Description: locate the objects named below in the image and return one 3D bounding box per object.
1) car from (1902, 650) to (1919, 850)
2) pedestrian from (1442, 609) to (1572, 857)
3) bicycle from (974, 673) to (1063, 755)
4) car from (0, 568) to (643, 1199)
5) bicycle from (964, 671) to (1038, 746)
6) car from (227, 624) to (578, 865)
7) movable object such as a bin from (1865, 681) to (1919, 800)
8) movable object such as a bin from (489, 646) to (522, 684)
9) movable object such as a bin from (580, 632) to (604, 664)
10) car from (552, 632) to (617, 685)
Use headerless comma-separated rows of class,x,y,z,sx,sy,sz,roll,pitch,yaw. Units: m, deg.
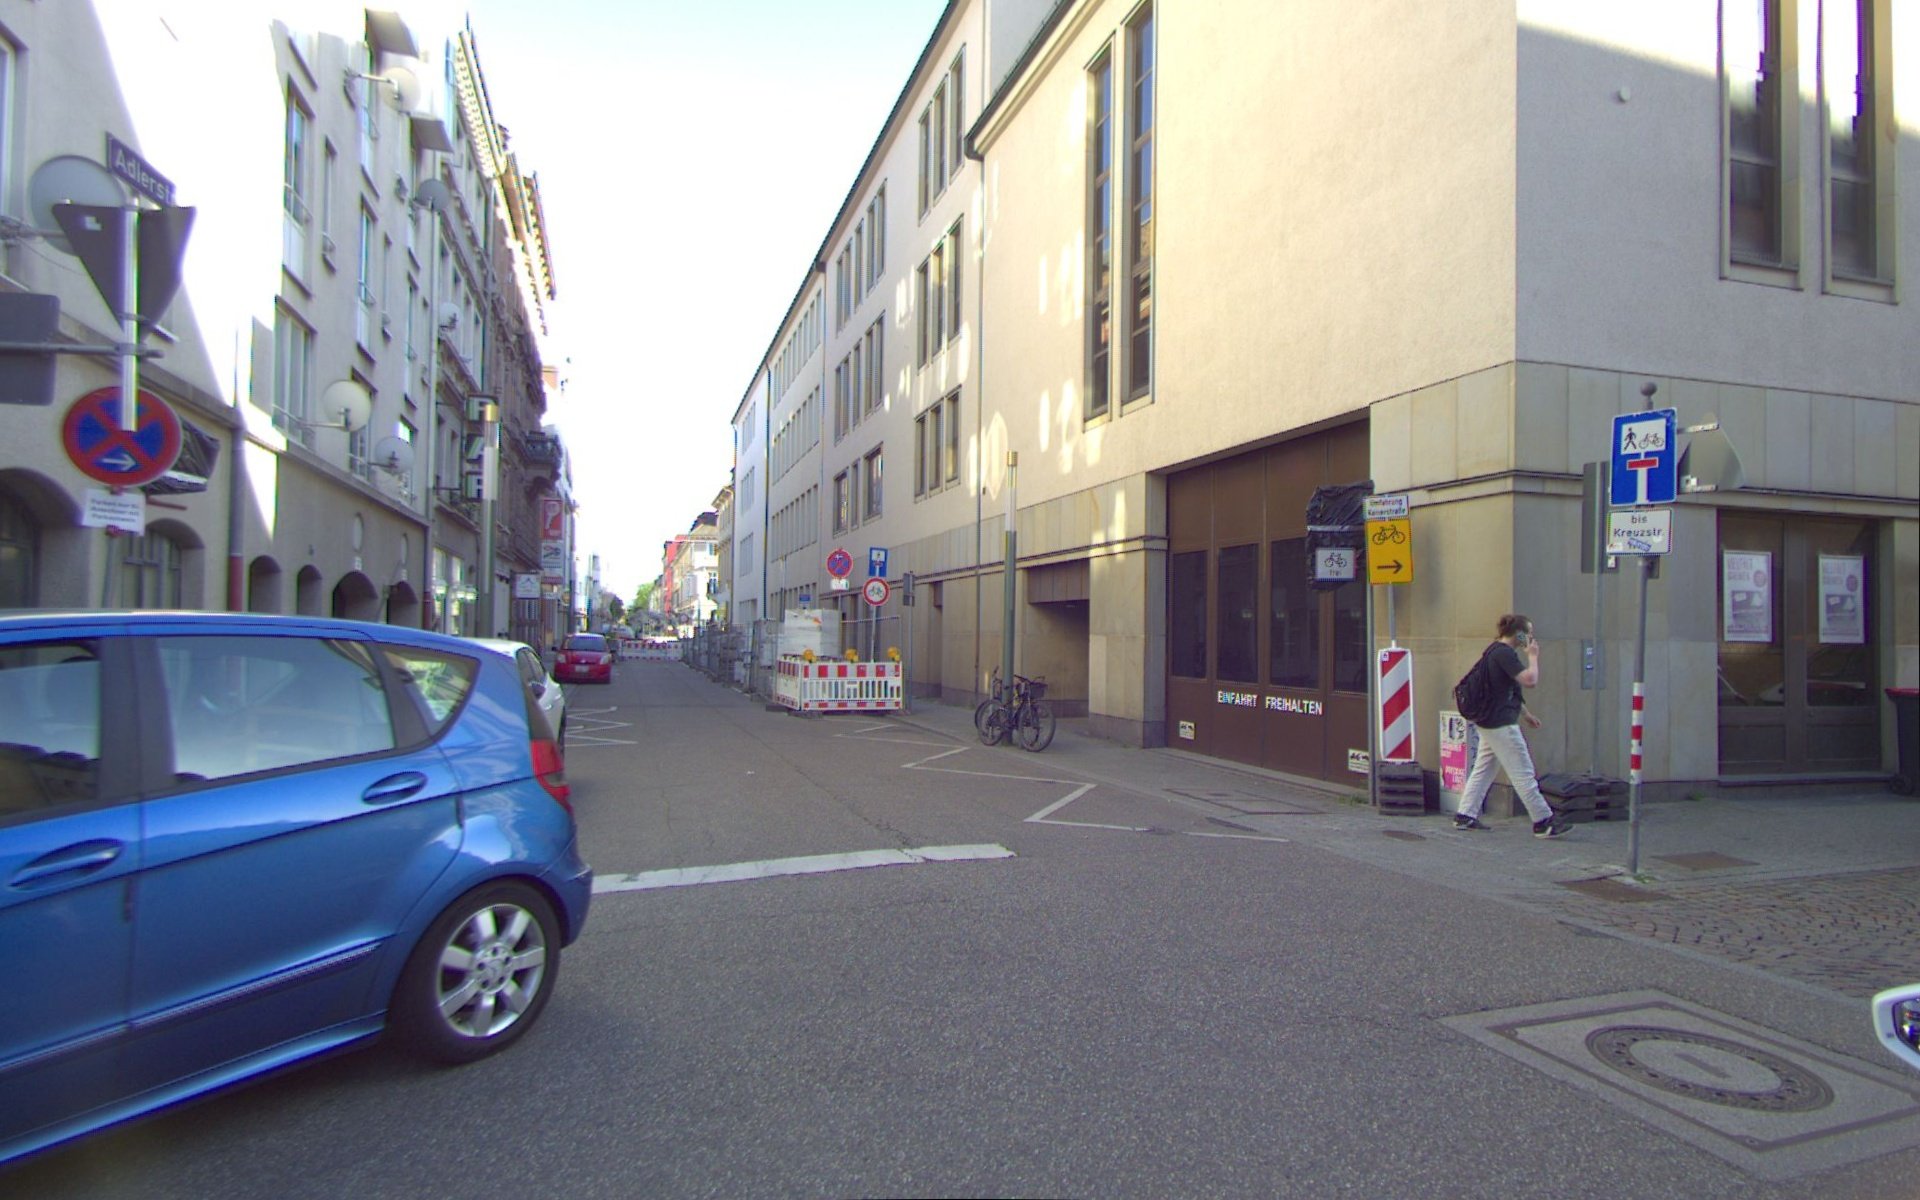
car,9.284,1.130,7.479,3.740,1.511,1.736,1,-3,-19
pedestrian,4.396,1.029,8.142,0.845,1.878,0.716,0,-3,23
bicycle,0.832,1.643,14.782,0.299,1.064,1.775,2,-2,-34
car,-2.961,0.766,2.893,1.822,1.614,3.803,-2,-2,25
bicycle,0.628,1.680,15.866,0.299,1.064,1.528,2,-2,-34
car,-4.557,1.071,8.891,1.714,1.614,3.958,2,-3,-15
movable object such as a bin,9.561,1.385,9.896,0.581,1.115,0.736,2,0,-17
movable object such as a bin,-13.318,1.899,29.438,0.826,1.062,0.750,2,0,-24
movable object such as a bin,-18.363,2.400,50.140,1.068,1.564,0.904,3,-2,-22
car,-12.004,1.831,32.078,1.768,1.545,3.980,3,-2,-21
